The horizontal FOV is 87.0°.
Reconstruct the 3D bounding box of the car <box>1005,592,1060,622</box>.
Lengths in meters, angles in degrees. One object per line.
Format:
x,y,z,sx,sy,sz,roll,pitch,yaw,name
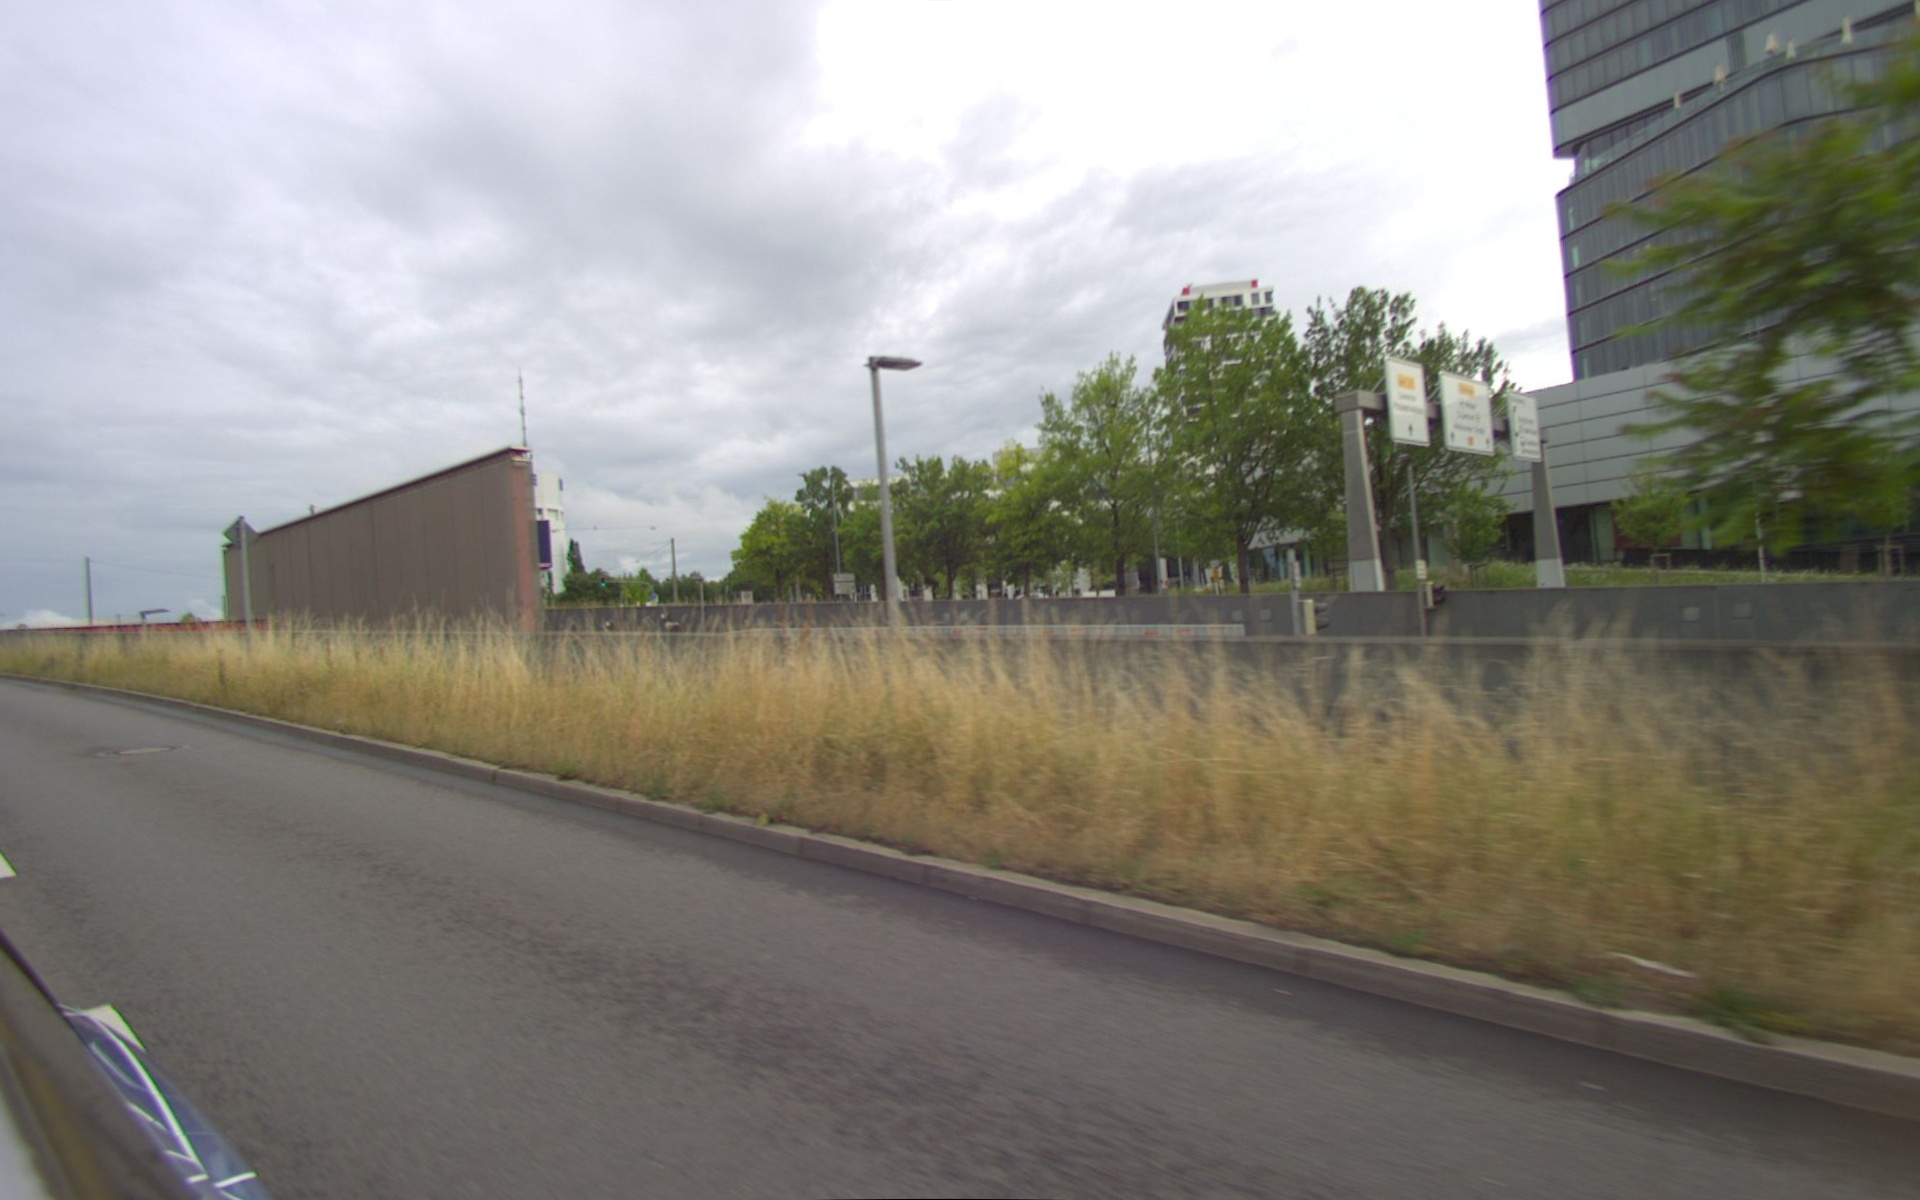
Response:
6.016,0.604,84.366,3.993,2.028,1.976,-7,-1,37,car

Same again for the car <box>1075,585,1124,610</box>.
13.098,-0.201,95.211,3.939,1.862,2.003,-7,0,-7,car

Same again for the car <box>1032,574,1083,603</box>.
8.713,-1.011,90.444,3.994,2.028,1.975,-7,-1,38,car

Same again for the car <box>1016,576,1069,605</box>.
7.150,-0.837,88.015,3.994,2.028,1.975,-7,-1,38,car
